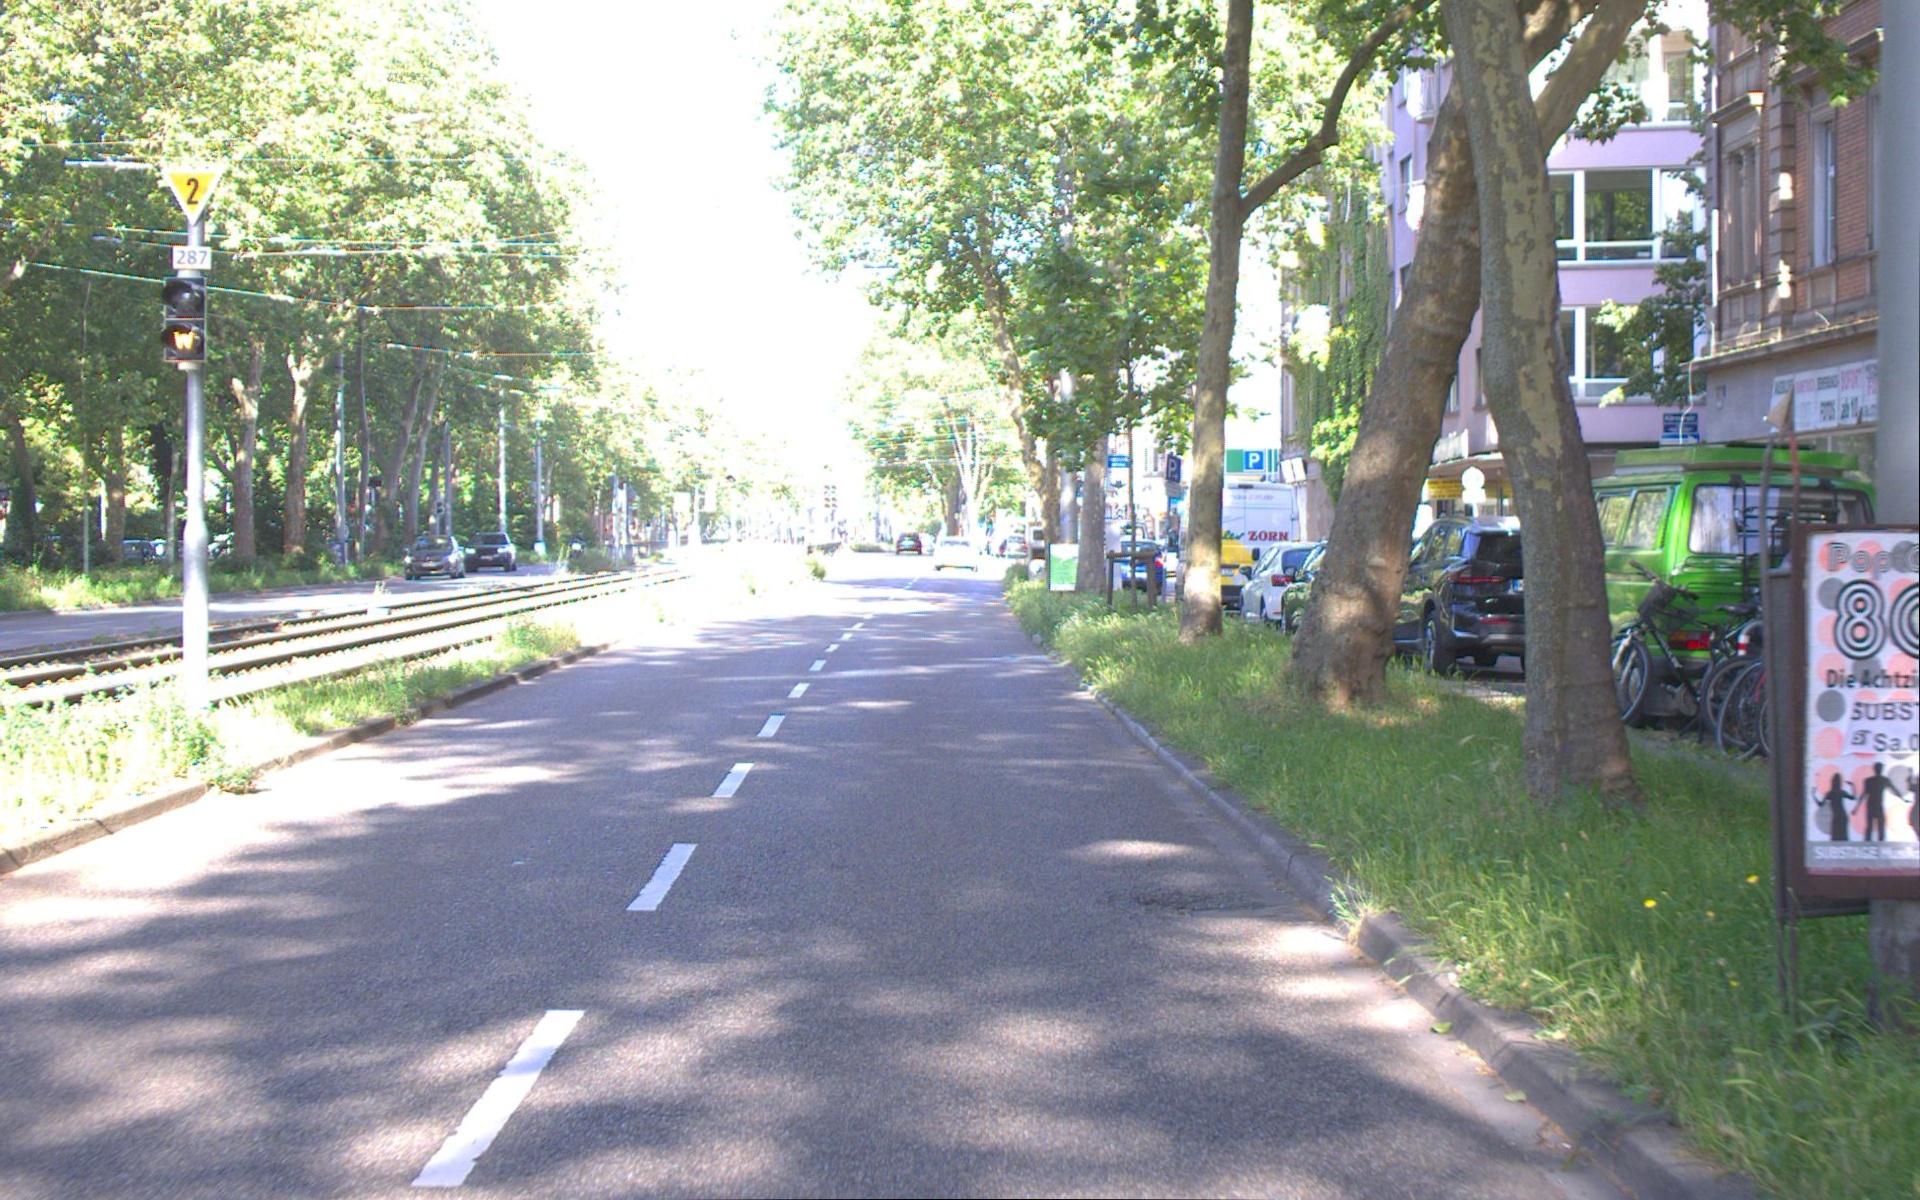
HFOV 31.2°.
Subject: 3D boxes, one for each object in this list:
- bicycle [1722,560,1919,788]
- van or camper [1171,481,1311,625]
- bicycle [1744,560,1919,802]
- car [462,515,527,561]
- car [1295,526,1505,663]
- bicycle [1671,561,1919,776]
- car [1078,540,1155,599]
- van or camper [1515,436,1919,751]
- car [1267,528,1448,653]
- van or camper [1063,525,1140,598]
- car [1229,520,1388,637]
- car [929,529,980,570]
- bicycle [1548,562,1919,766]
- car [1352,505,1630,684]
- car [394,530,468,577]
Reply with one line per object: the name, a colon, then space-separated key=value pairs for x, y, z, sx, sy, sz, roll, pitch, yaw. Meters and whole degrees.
bicycle: x=5.693 y=0.432 z=20.230 sx=2.164 sy=1.290 sz=0.983 roll=1 pitch=1 yaw=0
van or camper: x=5.160 y=-0.874 z=63.877 sx=2.184 sy=2.472 sz=6.268 roll=2 pitch=1 yaw=2
bicycle: x=5.553 y=0.445 z=19.079 sx=2.164 sy=1.290 sz=0.983 roll=1 pitch=1 yaw=1
car: x=-19.778 y=-2.634 z=146.211 sx=1.993 sy=1.864 sz=4.873 roll=-2 pitch=1 yaw=0
car: x=5.173 y=-0.098 z=40.904 sx=1.737 sy=1.459 sz=4.366 roll=3 pitch=1 yaw=-2
bicycle: x=5.679 y=0.422 z=21.517 sx=2.163 sy=1.290 sz=0.983 roll=1 pitch=1 yaw=-11
car: x=4.139 y=-0.829 z=91.371 sx=1.683 sy=1.508 sz=3.668 roll=1 pitch=1 yaw=-3
van or camper: x=5.676 y=-0.086 z=26.195 sx=1.833 sy=2.090 sz=4.775 roll=3 pitch=1 yaw=-2
car: x=5.227 y=-0.158 z=45.650 sx=1.753 sy=1.491 sz=4.185 roll=3 pitch=1 yaw=-1
van or camper: x=3.963 y=-1.099 z=96.858 sx=1.839 sy=1.956 sz=5.127 roll=1 pitch=1 yaw=-1
car: x=5.078 y=-0.334 z=50.590 sx=1.753 sy=1.567 sz=4.185 roll=3 pitch=1 yaw=-1
car: x=-0.240 y=-2.073 z=140.287 sx=2.021 sy=1.656 sz=4.000 roll=0 pitch=1 yaw=-1
bicycle: x=5.309 y=0.417 z=22.890 sx=2.548 sy=1.290 sz=0.975 roll=1 pitch=1 yaw=-7
car: x=5.422 y=-0.090 z=35.716 sx=1.890 sy=1.641 sz=4.801 roll=3 pitch=1 yaw=-2
car: x=-18.245 y=-1.611 z=118.803 sx=1.795 sy=1.503 sz=4.339 roll=-3 pitch=1 yaw=0
